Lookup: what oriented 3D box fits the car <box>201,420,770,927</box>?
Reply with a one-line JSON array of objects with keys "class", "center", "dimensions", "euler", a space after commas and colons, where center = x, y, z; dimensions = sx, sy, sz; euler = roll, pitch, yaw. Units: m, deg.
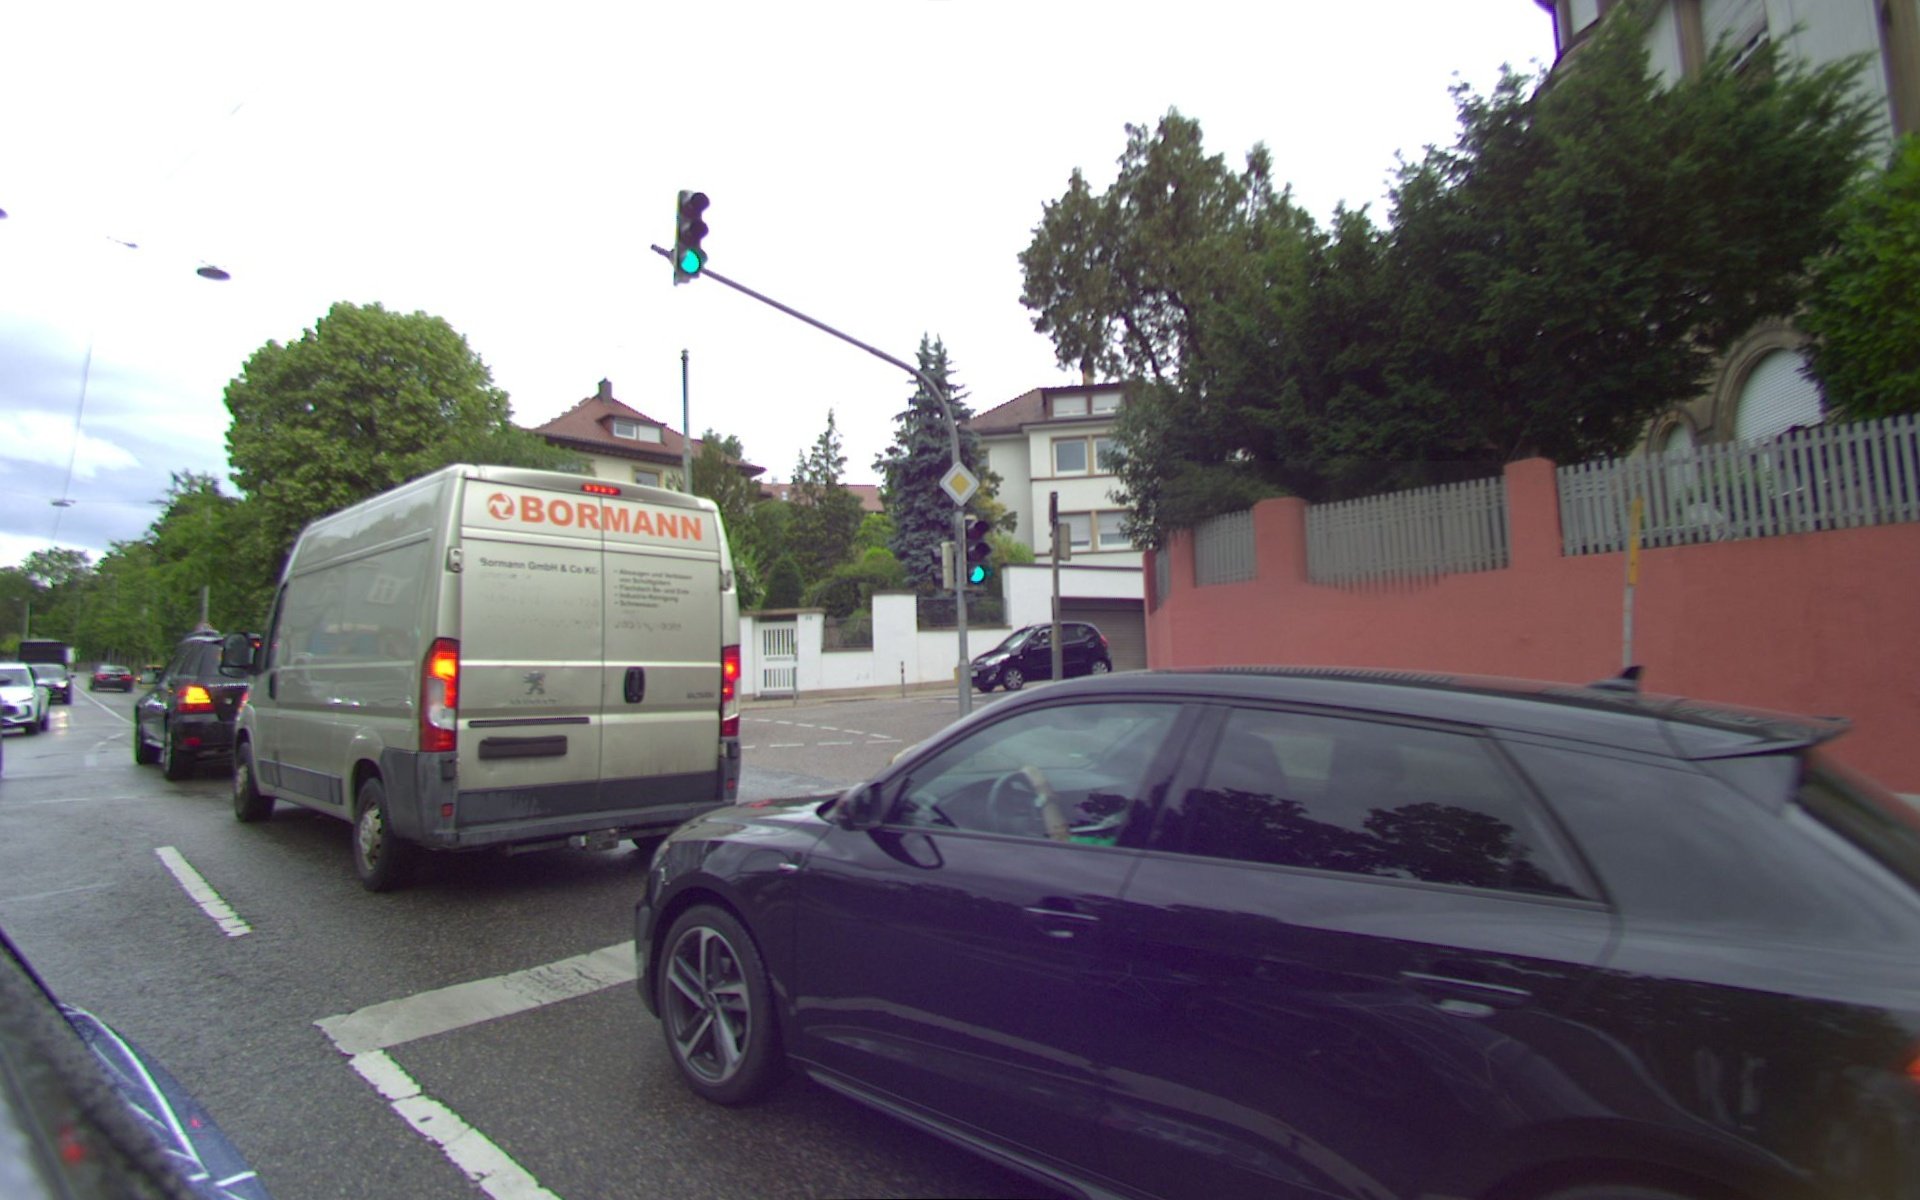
[{"class": "car", "center": [-3.978, 0.496, 7.820], "dimensions": [5.541, 2.565, 2.093], "euler": [-3, -5, 44]}]

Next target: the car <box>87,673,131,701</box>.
[{"class": "car", "center": [-49.519, 5.067, 58.984], "dimensions": [1.829, 1.497, 5.376], "euler": [3, -6, -39]}]

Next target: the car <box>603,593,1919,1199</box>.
[{"class": "car", "center": [0.917, 0.798, 2.843], "dimensions": [3.996, 1.441, 1.796], "euler": [-2, -5, 40]}]

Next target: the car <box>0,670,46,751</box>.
[{"class": "car", "center": [-21.781, 2.424, 22.714], "dimensions": [1.760, 1.654, 4.204], "euler": [4, -5, -43]}]

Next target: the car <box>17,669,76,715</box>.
[{"class": "car", "center": [-37.377, 3.711, 41.378], "dimensions": [1.711, 1.631, 3.479], "euler": [1, -2, -43]}]

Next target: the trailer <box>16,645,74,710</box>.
[{"class": "trailer", "center": [-39.589, 3.292, 43.773], "dimensions": [1.745, 2.645, 3.036], "euler": [1, -2, -43]}]

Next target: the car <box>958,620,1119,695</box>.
[{"class": "car", "center": [1.866, 1.384, 24.191], "dimensions": [3.308, 1.449, 1.676], "euler": [-3, -7, -22]}]

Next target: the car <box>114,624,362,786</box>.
[{"class": "car", "center": [-9.127, 1.220, 12.649], "dimensions": [4.348, 1.665, 1.800], "euler": [-4, -4, 45]}]

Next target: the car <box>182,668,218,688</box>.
[{"class": "car", "center": [-61.016, 6.276, 81.243], "dimensions": [1.830, 1.503, 3.868], "euler": [1, -3, -45]}]

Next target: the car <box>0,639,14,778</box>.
[{"class": "car", "center": [-11.331, 1.215, 10.613], "dimensions": [1.759, 1.654, 4.206], "euler": [3, -5, -40]}]

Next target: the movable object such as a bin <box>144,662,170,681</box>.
[{"class": "movable object such as a bin", "center": [-57.729, 5.154, 72.723], "dimensions": [1.122, 1.361, 1.211], "euler": [-3, -5, 39]}]
